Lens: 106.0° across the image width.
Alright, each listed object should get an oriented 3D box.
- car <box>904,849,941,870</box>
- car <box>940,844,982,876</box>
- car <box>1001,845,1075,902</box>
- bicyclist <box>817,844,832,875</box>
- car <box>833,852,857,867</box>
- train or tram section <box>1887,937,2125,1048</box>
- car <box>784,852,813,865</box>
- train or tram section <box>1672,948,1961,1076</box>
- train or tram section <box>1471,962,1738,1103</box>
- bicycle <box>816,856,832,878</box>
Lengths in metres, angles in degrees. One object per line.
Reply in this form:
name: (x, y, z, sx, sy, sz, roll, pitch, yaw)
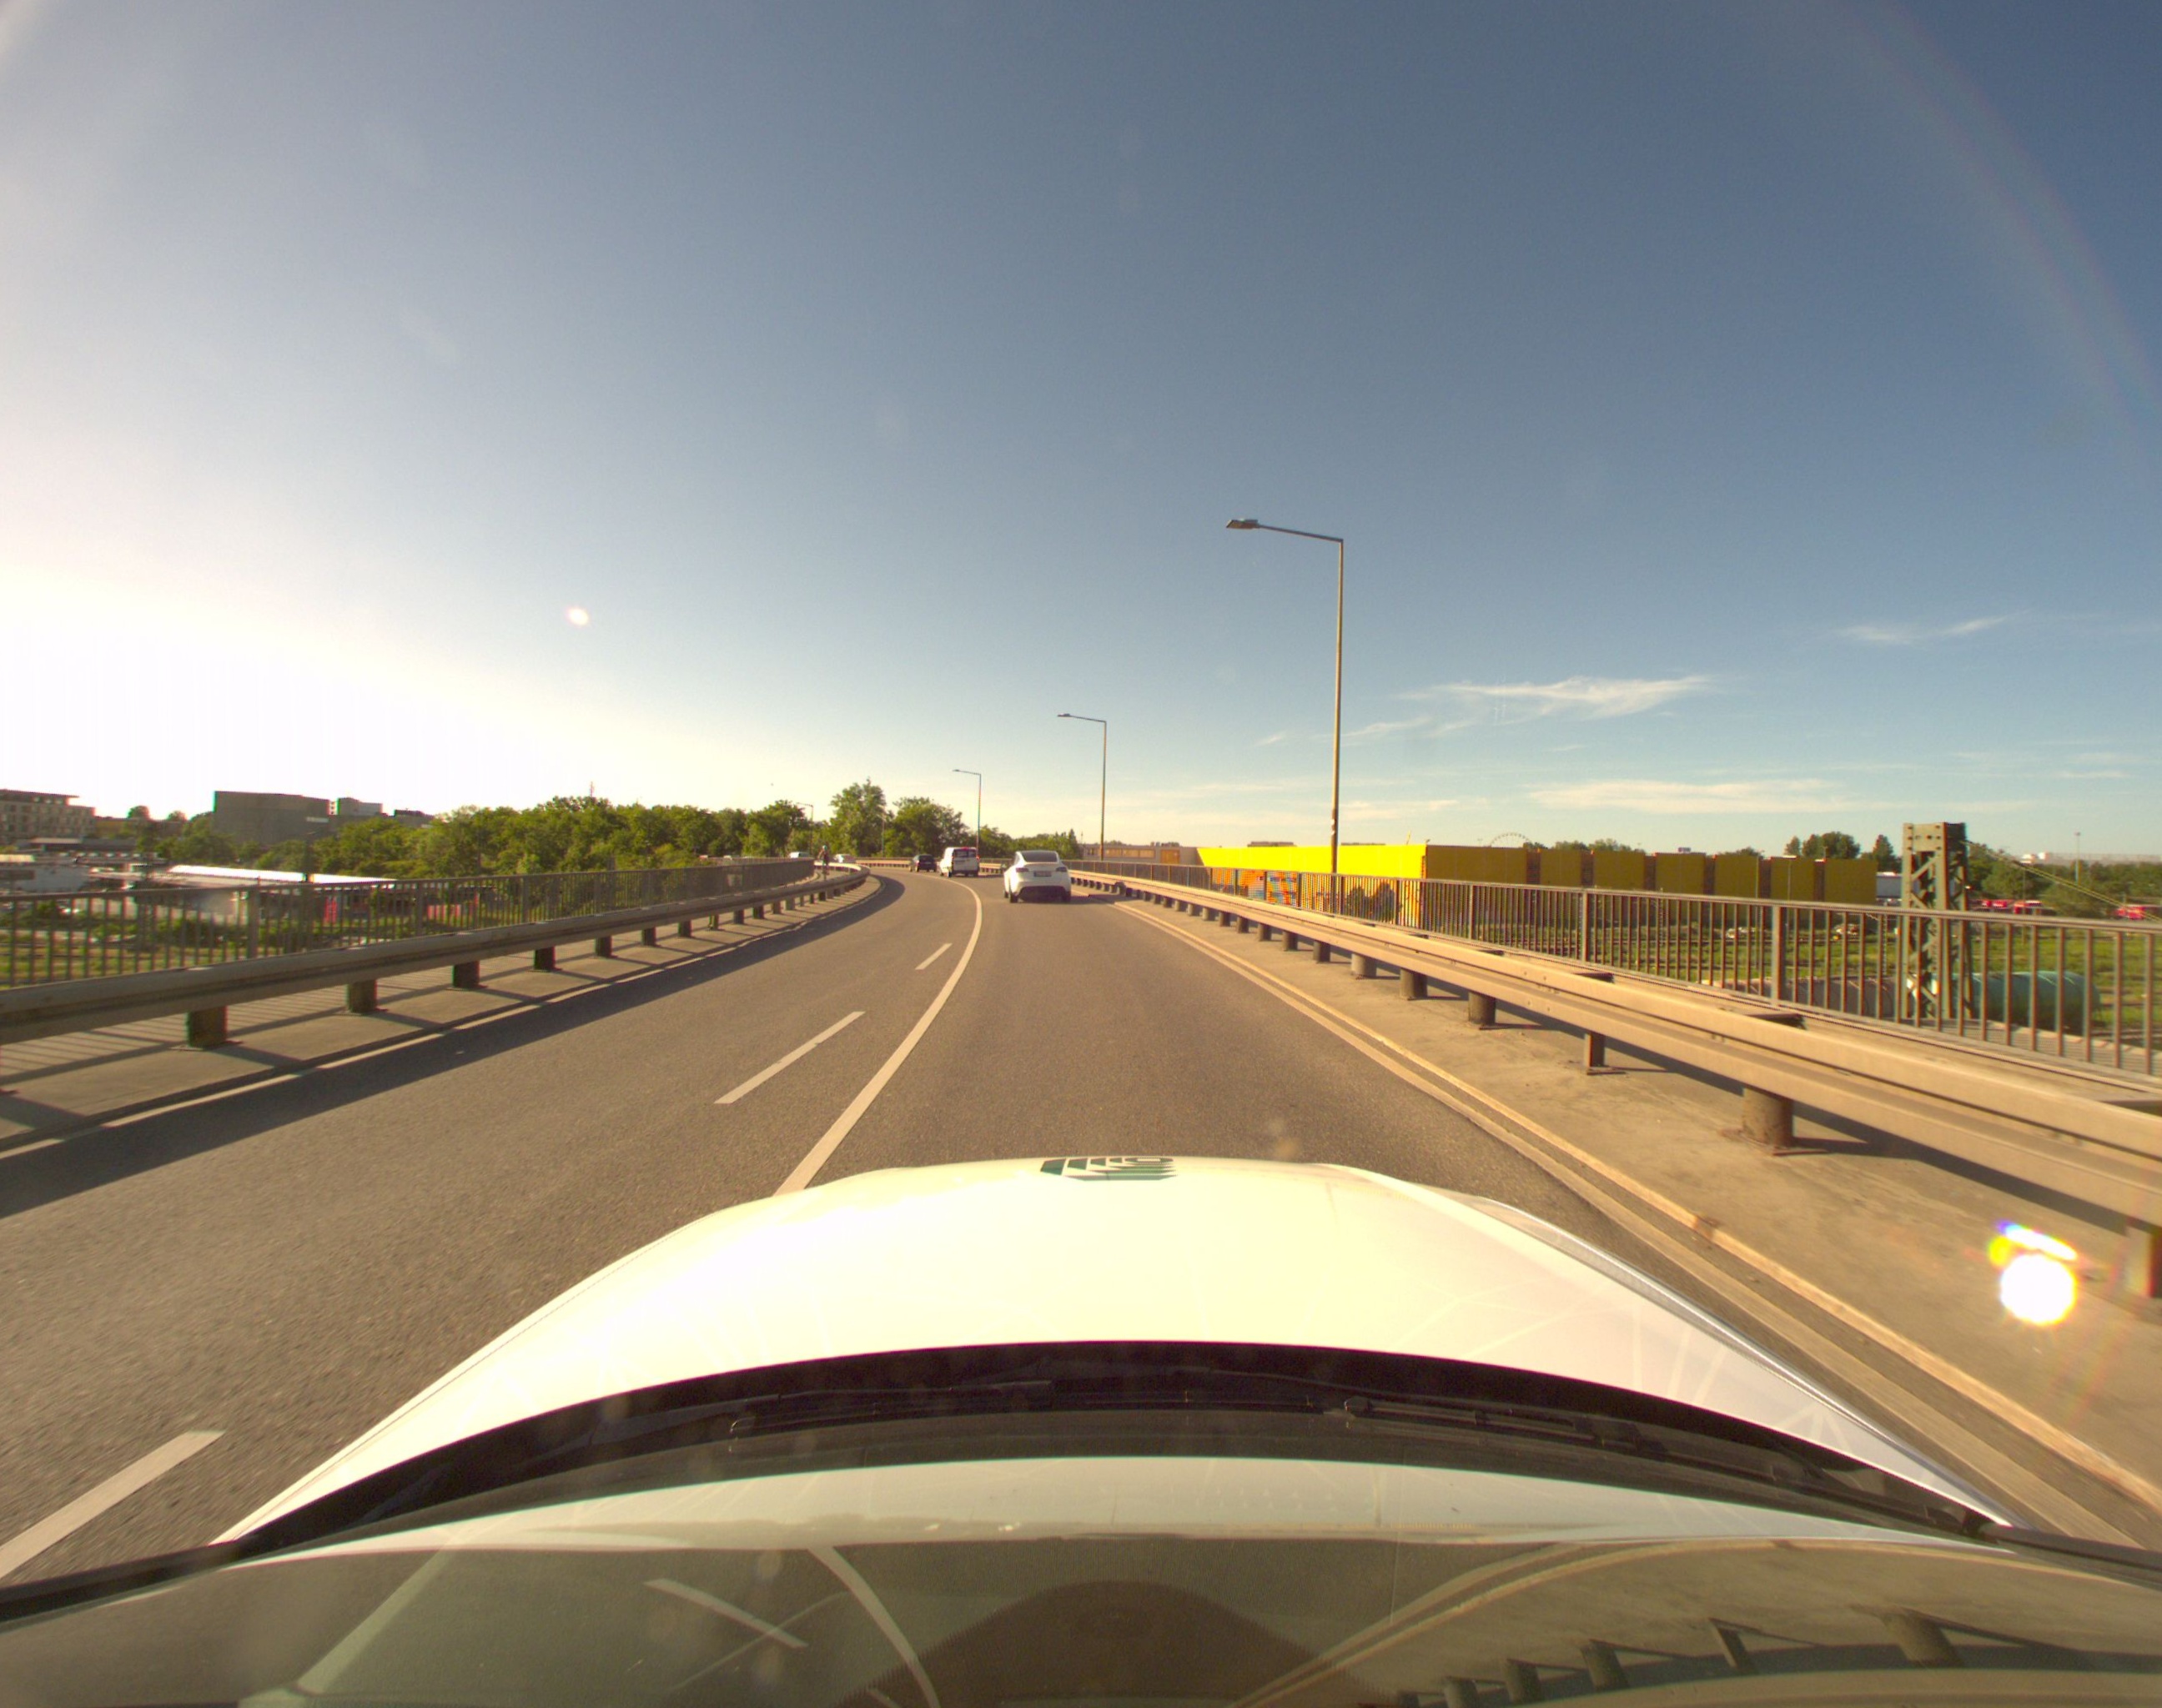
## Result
car: (-12.908, 0.469, 66.076, 1.978, 1.637, 3.967, -2, 0, -25)
car: (-7.698, 0.335, 52.031, 2.010, 1.940, 4.442, -1, 0, -17)
car: (-1.482, 0.585, 26.471, 1.985, 1.637, 4.050, -2, 0, -9)
bicyclist: (-13.071, 0.281, 41.451, 0.655, 1.589, 0.764, -1, 0, -15)
car: (-26.044, 0.631, 89.918, 1.869, 1.585, 3.880, -1, 0, -27)
train or tram section: (55.707, 8.102, 48.979, 15.160, 5.183, 3.319, -1, 0, -16)
car: (-35.368, 0.514, 102.002, 3.845, 1.555, 1.852, 0, 0, 44)
train or tram section: (40.329, 8.325, 44.511, 16.860, 5.261, 3.319, -1, 0, -16)
train or tram section: (25.930, 8.535, 40.300, 13.068, 5.265, 3.319, -1, 0, -16)
bicycle: (-13.096, 0.634, 41.565, 0.654, 1.065, 1.881, -1, 0, -14)
